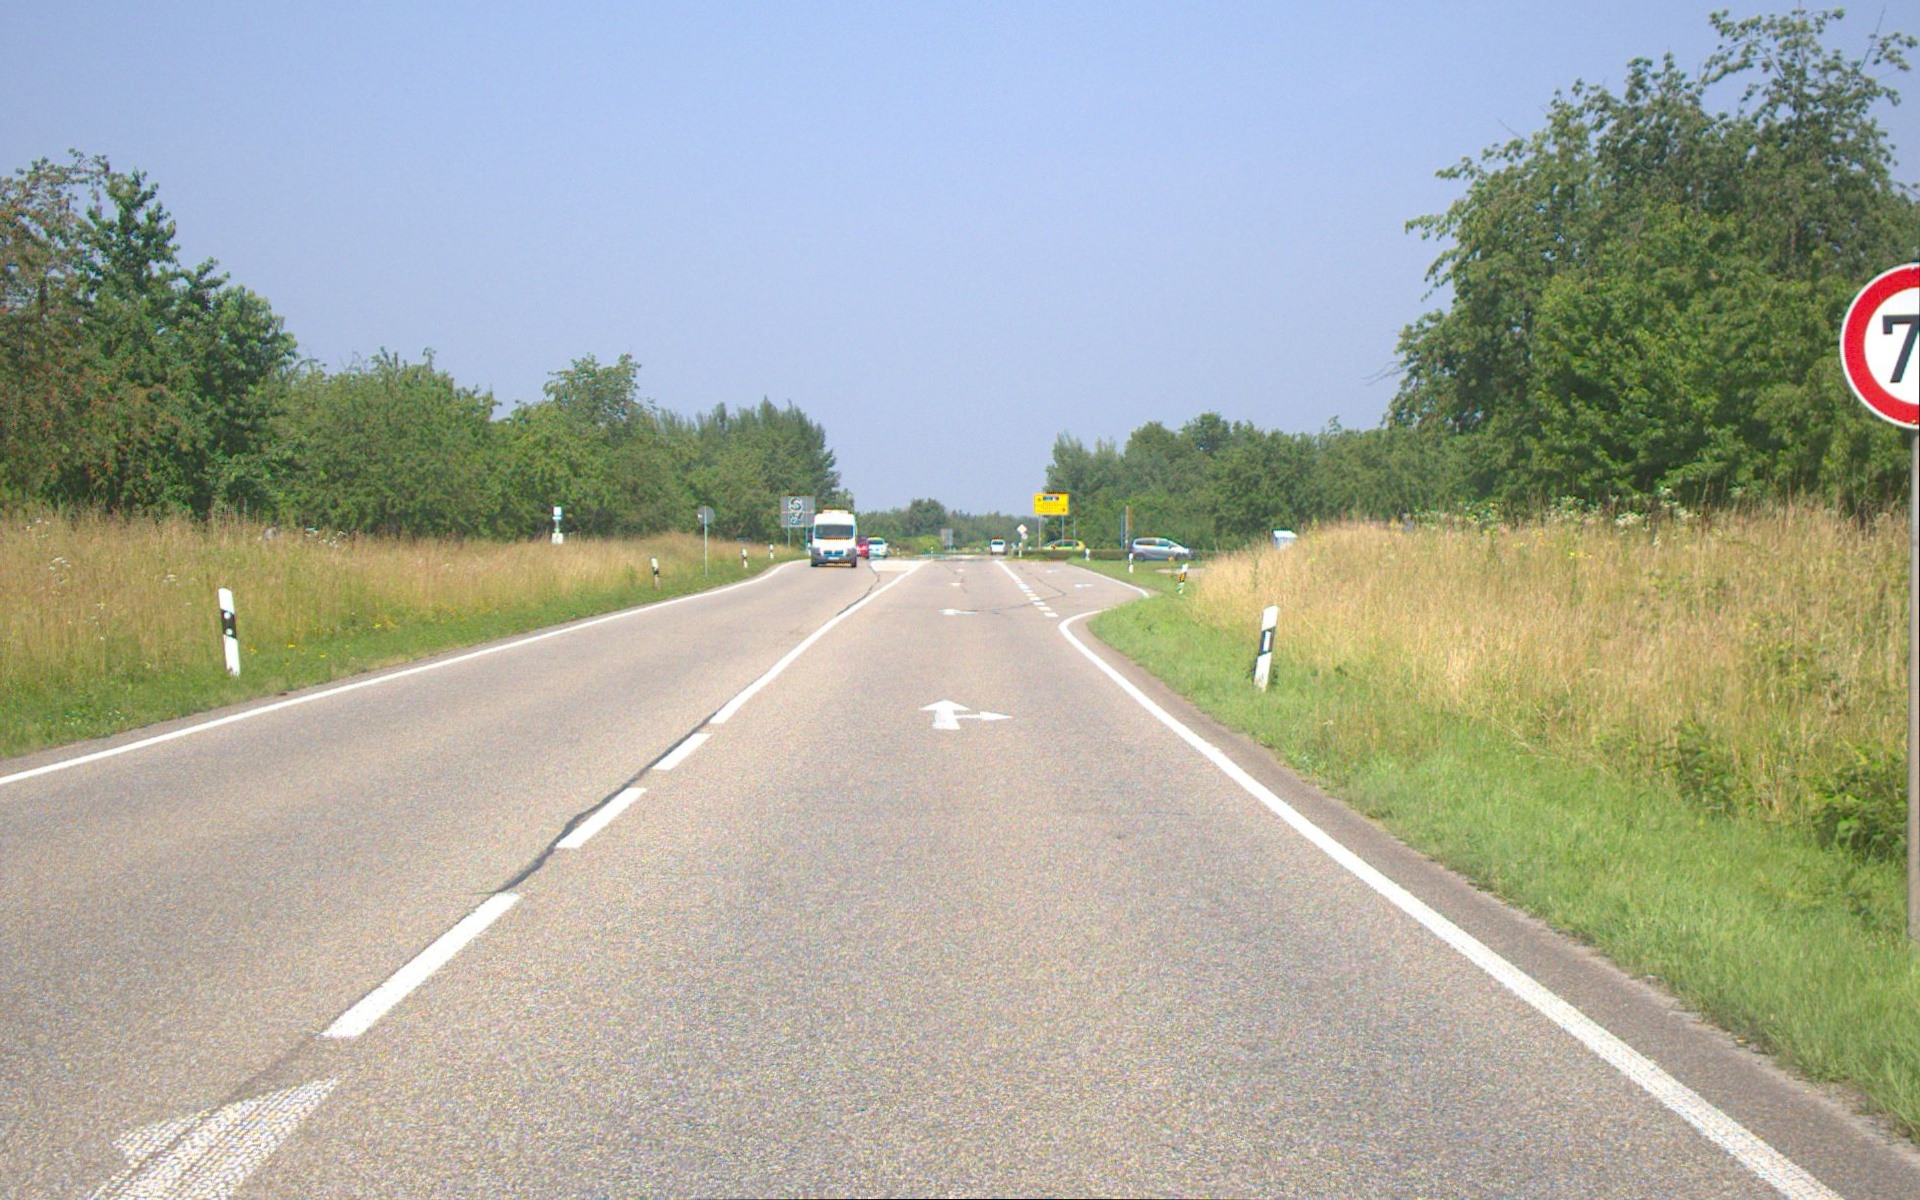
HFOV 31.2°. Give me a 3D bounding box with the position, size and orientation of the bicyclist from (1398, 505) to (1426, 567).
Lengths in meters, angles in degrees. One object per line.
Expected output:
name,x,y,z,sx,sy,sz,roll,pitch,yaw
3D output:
bicyclist,14.227,-2.022,108.201,0.749,1.923,0.828,0,1,0

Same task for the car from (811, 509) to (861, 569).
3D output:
car,-5.704,-2.807,158.880,2.161,2.659,6.144,1,0,-1

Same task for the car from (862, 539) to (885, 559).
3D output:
car,-6.555,-3.826,258.847,1.675,1.489,4.137,1,1,-2

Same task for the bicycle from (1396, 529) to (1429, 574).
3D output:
bicycle,14.229,-1.534,108.198,0.749,1.413,2.221,0,1,0
